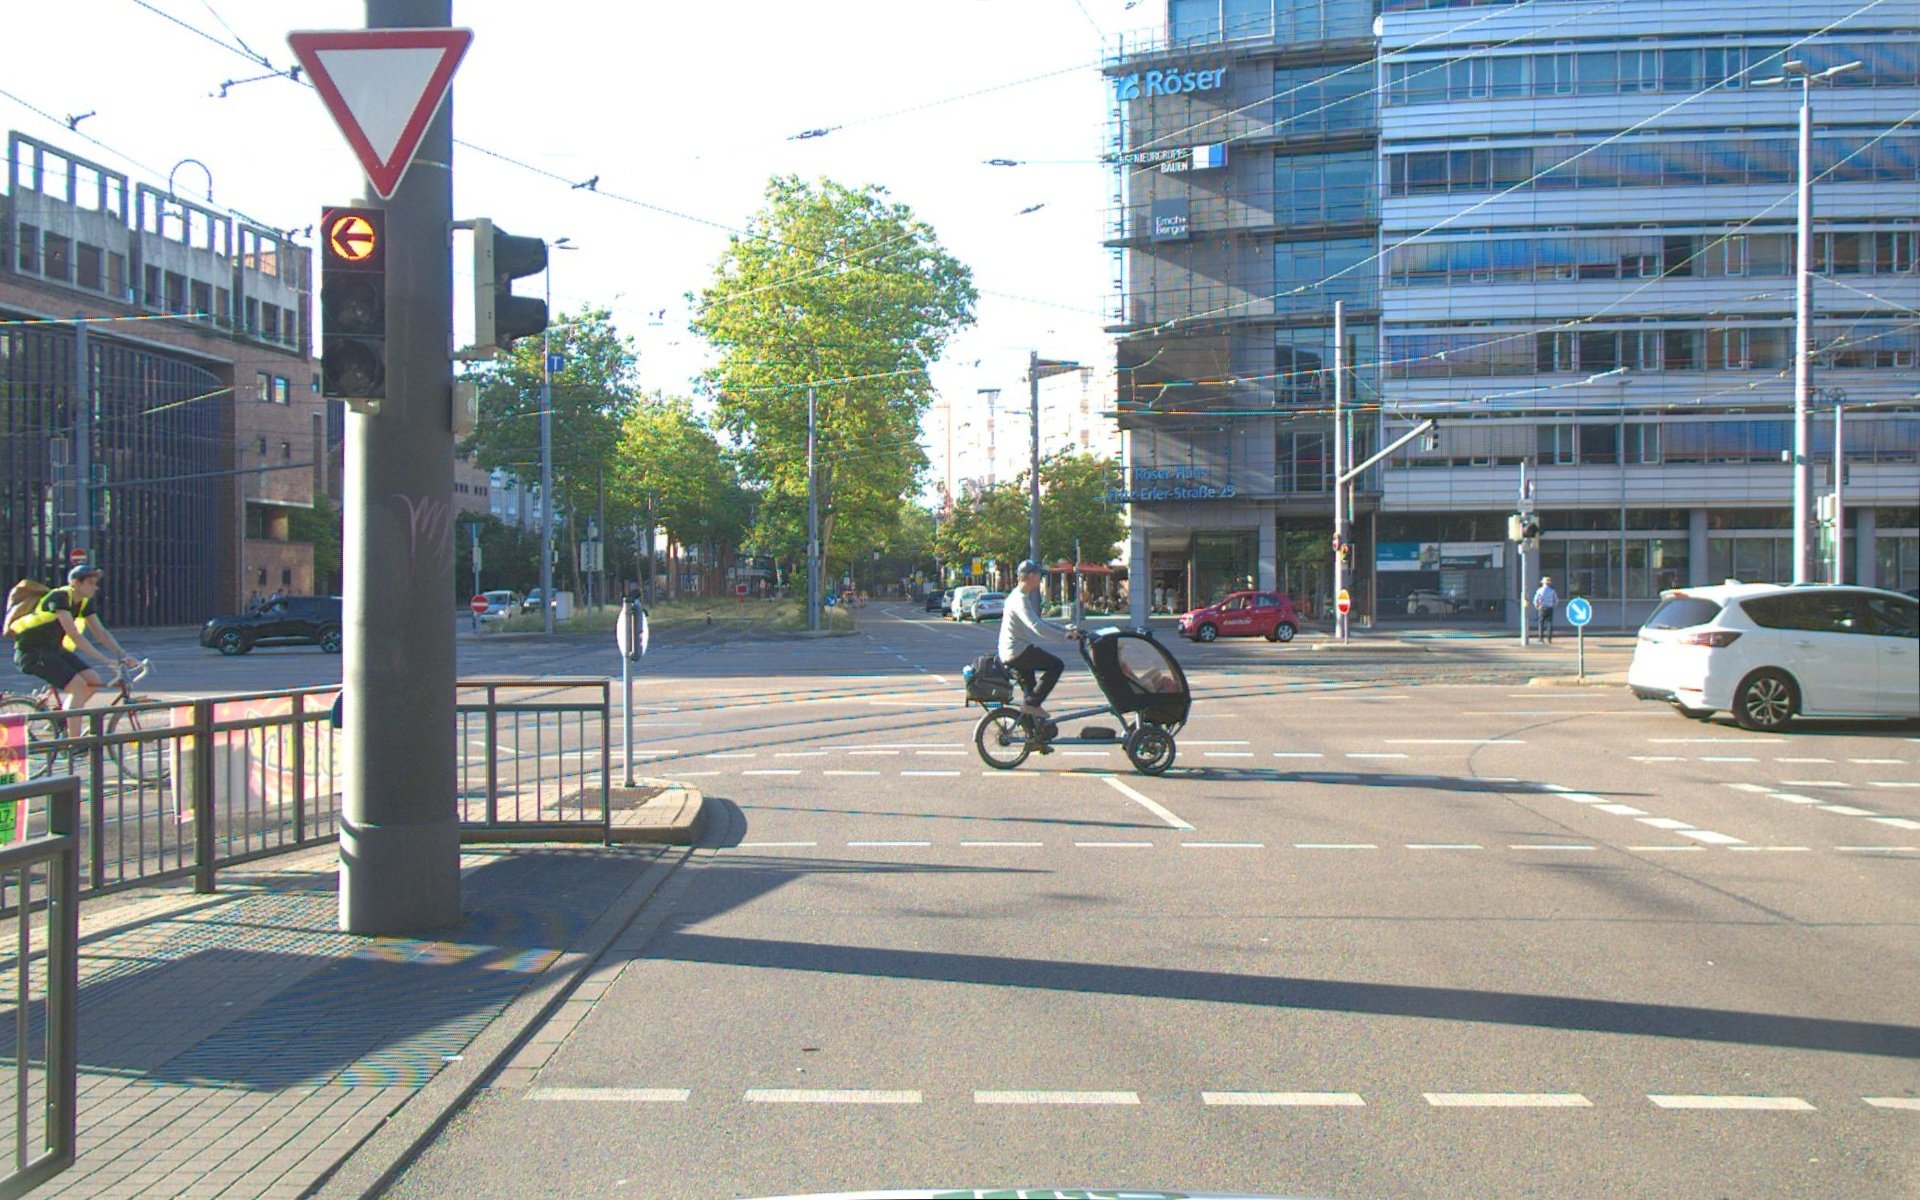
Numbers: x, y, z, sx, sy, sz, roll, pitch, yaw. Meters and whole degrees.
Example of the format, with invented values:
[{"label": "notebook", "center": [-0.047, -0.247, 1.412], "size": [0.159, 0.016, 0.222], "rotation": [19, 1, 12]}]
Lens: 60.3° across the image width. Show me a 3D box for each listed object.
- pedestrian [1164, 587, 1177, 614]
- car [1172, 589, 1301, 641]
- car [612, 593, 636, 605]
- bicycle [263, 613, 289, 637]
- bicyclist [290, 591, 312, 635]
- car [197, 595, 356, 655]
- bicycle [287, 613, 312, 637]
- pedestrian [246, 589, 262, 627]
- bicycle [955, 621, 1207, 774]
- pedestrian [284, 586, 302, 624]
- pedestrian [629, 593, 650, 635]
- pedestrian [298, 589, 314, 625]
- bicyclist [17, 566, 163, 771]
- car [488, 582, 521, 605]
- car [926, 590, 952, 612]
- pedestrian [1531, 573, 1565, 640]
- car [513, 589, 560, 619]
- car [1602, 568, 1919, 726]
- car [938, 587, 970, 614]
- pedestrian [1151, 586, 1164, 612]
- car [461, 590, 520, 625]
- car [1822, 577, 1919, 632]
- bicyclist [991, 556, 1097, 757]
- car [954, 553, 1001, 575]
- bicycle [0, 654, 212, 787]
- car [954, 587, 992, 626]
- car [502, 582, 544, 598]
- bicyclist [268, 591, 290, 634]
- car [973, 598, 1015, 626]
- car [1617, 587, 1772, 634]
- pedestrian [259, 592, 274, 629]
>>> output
[{"label": "pedestrian", "center": [11.907, 0.035, 93.395], "size": [0.691, 1.491, 0.384], "rotation": [-1, 0, 8]}, {"label": "car", "center": [8.322, 0.453, 50.009], "size": [3.524, 1.492, 1.794], "rotation": [-1, 0, -3]}, {"label": "car", "center": [-44.051, -0.154, 216.926], "size": [1.951, 1.534, 4.003], "rotation": [-1, 0, 7]}, {"label": "bicycle", "center": [-26.907, 0.966, 65.107], "size": [0.503, 0.897, 1.835], "rotation": [-1, 0, -8]}, {"label": "bicyclist", "center": [-26.092, 0.502, 65.474], "size": [0.582, 1.705, 0.788], "rotation": [-1, 0, -7]}, {"label": "car", "center": [-18.673, 0.653, 45.331], "size": [3.797, 1.533, 1.788], "rotation": [-1, 0, -16]}, {"label": "bicycle", "center": [-26.111, 0.992, 65.424], "size": [0.503, 0.897, 1.835], "rotation": [-1, 0, -8]}, {"label": "pedestrian", "center": [-34.626, 0.393, 81.091], "size": [0.479, 1.842, 0.546], "rotation": [-1, 0, 6]}, {"label": "bicycle", "center": [1.044, 0.823, 14.453], "size": [2.112, 1.248, 1.073], "rotation": [0, 1, 3]}, {"label": "pedestrian", "center": [-32.687, 0.228, 81.093], "size": [0.627, 1.842, 0.546], "rotation": [-1, 0, 6]}, {"label": "pedestrian", "center": [-12.200, 0.535, 62.980], "size": [0.740, 1.557, 0.507], "rotation": [1, 0, -8]}, {"label": "pedestrian", "center": [-32.707, 0.360, 82.680], "size": [0.511, 1.810, 0.546], "rotation": [-1, 0, 6]}, {"label": "bicyclist", "center": [-7.368, 0.567, 14.038], "size": [0.885, 1.693, 0.639], "rotation": [0, 0, 2]}, {"label": "car", "center": [-31.053, -0.417, 112.818], "size": [1.873, 1.536, 3.988], "rotation": [1, 0, -12]}, {"label": "car", "center": [-1.635, 0.058, 126.701], "size": [1.953, 1.691, 3.999], "rotation": [-1, 0, -1]}, {"label": "pedestrian", "center": [15.268, 0.174, 42.924], "size": [0.704, 1.711, 0.557], "rotation": [1, 0, 6]}, {"label": "car", "center": [-23.095, 0.212, 90.335], "size": [1.955, 1.534, 3.994], "rotation": [-1, 0, -6]}, {"label": "car", "center": [10.365, 0.517, 19.624], "size": [4.737, 1.758, 1.999], "rotation": [0, 0, -3]}, {"label": "car", "center": [-0.379, 0.021, 105.003], "size": [1.953, 1.691, 3.999], "rotation": [-1, 0, -1]}, {"label": "pedestrian", "center": [11.177, -0.047, 93.544], "size": [0.723, 1.491, 0.537], "rotation": [-1, 0, 8]}, {"label": "car", "center": [-21.594, 0.309, 76.197], "size": [1.955, 1.534, 3.994], "rotation": [-1, 0, -6]}, {"label": "car", "center": [25.648, 0.093, 44.326], "size": [4.151, 1.417, 1.796], "rotation": [-1, 0, 4]}, {"label": "bicyclist", "center": [0.735, 0.485, 14.506], "size": [0.885, 1.710, 0.691], "rotation": [-1, 0, 2]}, {"label": "car", "center": [1.519, -3.093, 140.788], "size": [3.681, 1.780, 1.783], "rotation": [1, 0, 14]}, {"label": "bicycle", "center": [-7.436, 1.010, 14.046], "size": [1.883, 1.083, 0.629], "rotation": [0, 0, 2]}, {"label": "car", "center": [0.674, 0.341, 89.704], "size": [1.953, 2.026, 3.999], "rotation": [-1, 0, -1]}, {"label": "car", "center": [-45.625, -1.078, 172.747], "size": [3.948, 1.579, 1.589], "rotation": [1, -1, -32]}, {"label": "bicyclist", "center": [-26.835, 0.486, 65.208], "size": [0.582, 1.705, 0.788], "rotation": [-1, 0, -7]}, {"label": "car", "center": [1.665, 0.589, 82.879], "size": [1.953, 1.355, 3.999], "rotation": [-1, 0, -1]}, {"label": "car", "center": [22.425, 0.315, 50.606], "size": [3.902, 1.371, 1.977], "rotation": [-1, 0, 5]}, {"label": "pedestrian", "center": [-34.696, 0.519, 82.735], "size": [0.479, 1.842, 0.546], "rotation": [-1, 0, 6]}]
